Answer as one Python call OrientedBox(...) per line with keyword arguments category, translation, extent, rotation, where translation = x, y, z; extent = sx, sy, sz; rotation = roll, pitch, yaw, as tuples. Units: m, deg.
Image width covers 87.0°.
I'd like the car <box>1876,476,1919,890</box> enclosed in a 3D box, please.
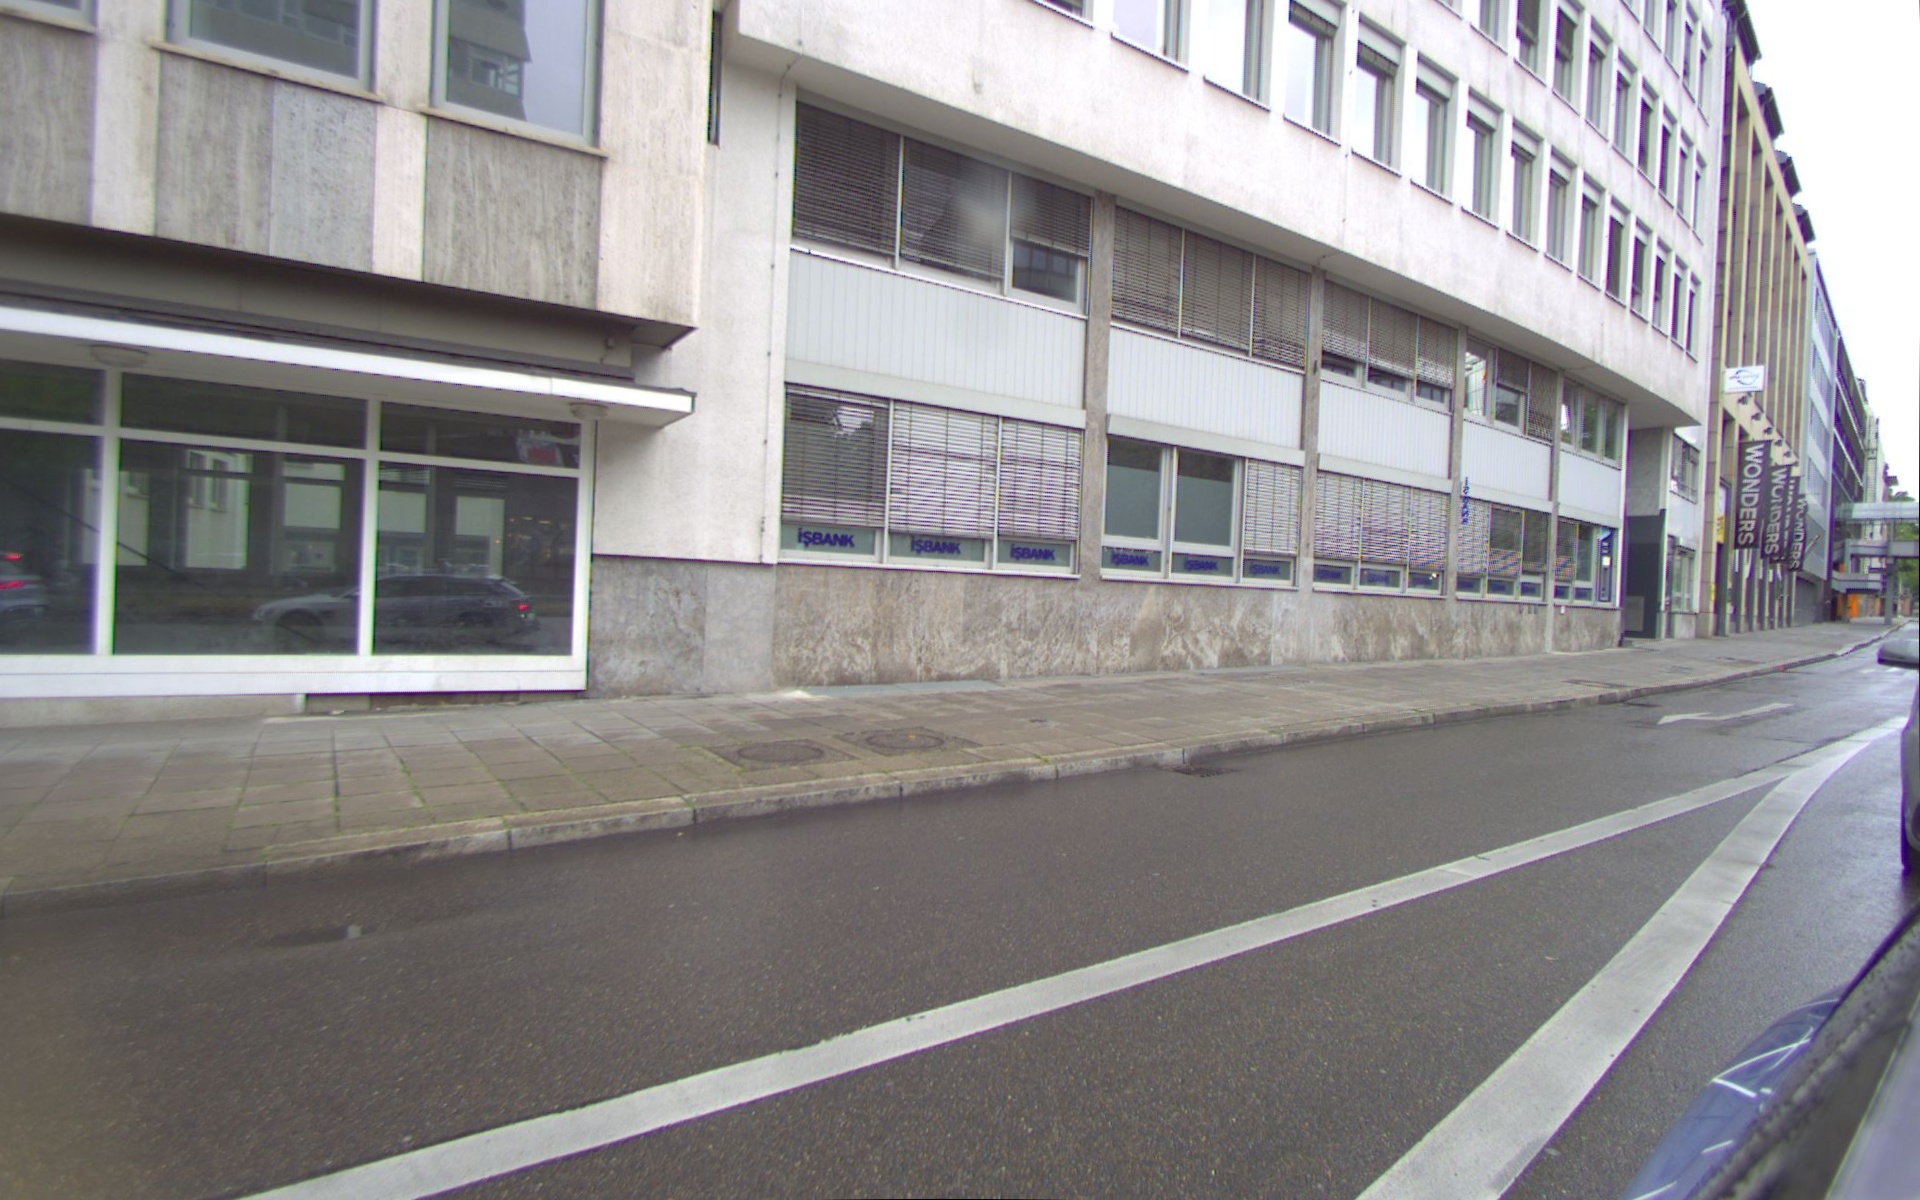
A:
OrientedBox(category="car", translation=(7.211, 0.437, 5.996), extent=(4.954, 2.051, 2.160), rotation=(0, 0, -42))
